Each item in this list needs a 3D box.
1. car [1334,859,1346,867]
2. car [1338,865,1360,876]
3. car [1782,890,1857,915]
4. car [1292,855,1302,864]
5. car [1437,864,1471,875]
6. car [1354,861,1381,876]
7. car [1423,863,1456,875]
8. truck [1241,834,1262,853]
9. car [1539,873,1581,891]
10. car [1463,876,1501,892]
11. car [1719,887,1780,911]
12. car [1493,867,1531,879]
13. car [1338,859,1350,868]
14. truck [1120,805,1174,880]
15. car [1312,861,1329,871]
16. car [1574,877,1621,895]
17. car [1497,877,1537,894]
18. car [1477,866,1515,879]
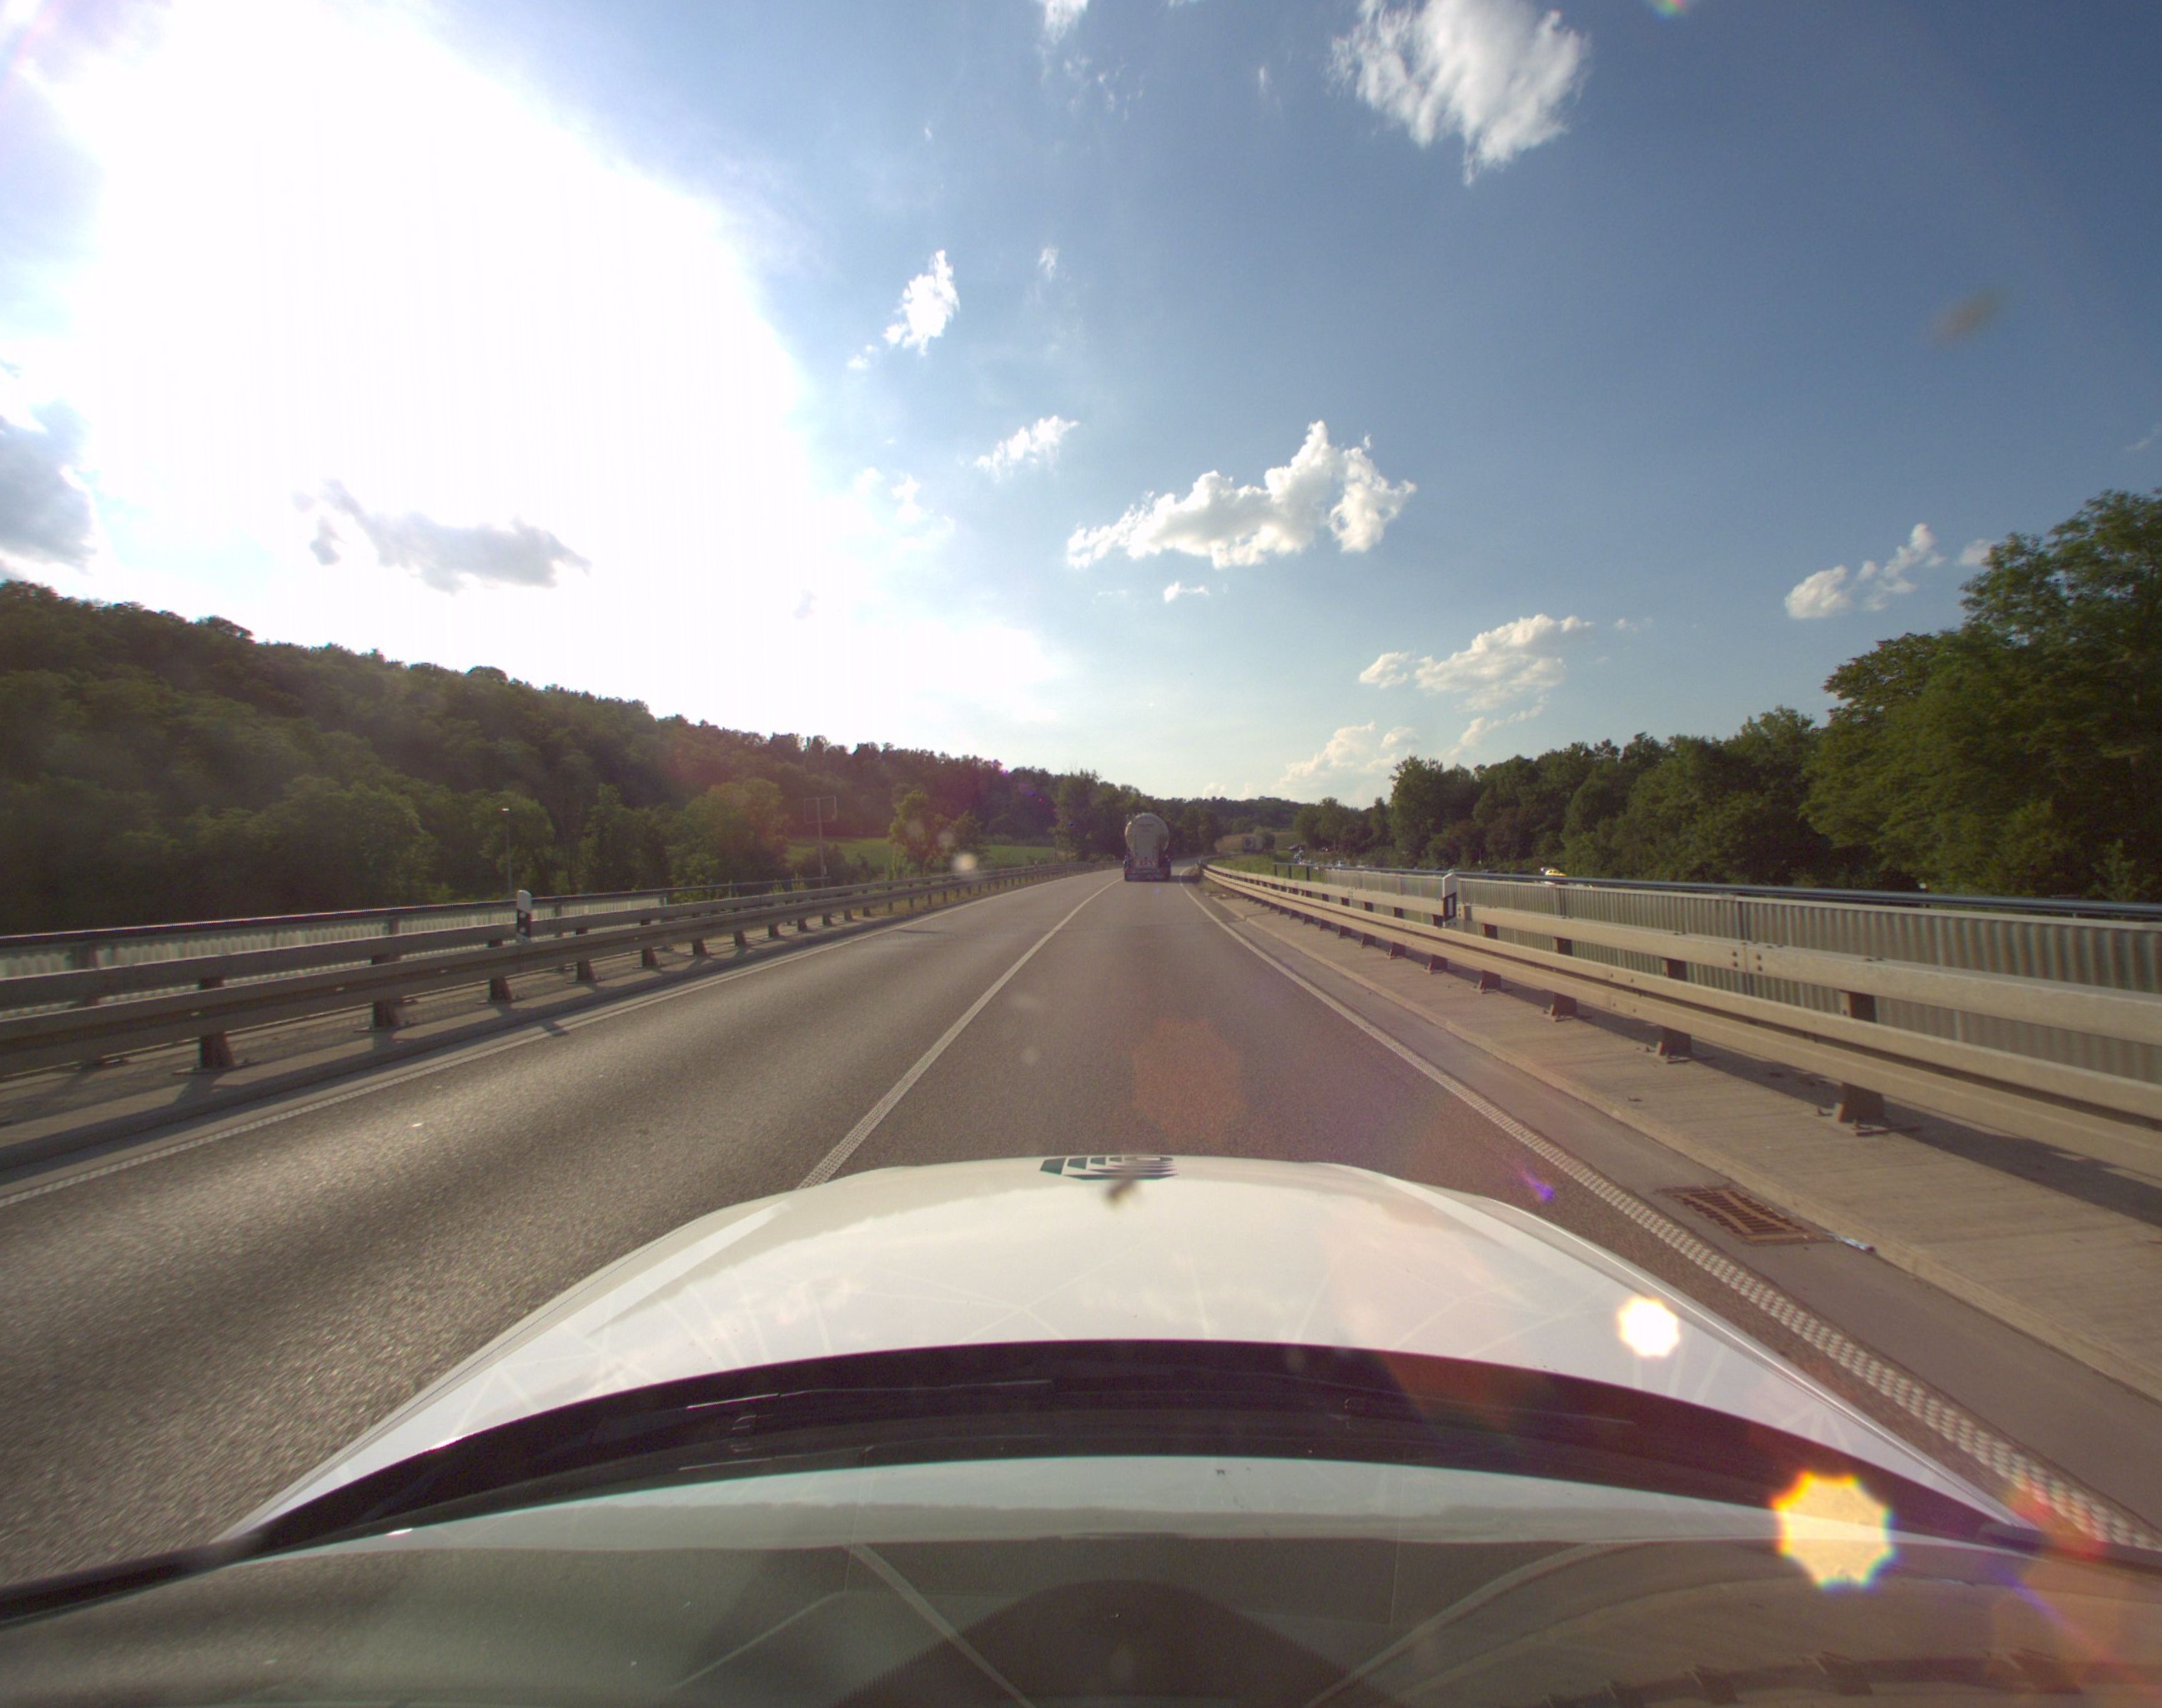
[{"bbox_3d":[52.927,1.786,166.456,1.690,1.398,3.958,-4,0,11],"label":"car"},{"bbox_3d":[43.892,2.695,133.654,1.886,1.482,4.781,-5,1,-1],"label":"car"},{"bbox_3d":[50.278,3.274,55.485,1.669,1.496,3.640,-2,-1,-42],"label":"car"},{"bbox_3d":[50.834,1.304,191.717,1.877,1.559,4.805,-5,1,17],"label":"car"},{"bbox_3d":[53.744,2.239,117.316,4.228,1.498,1.768,-1,1,-7],"label":"car"},{"bbox_3d":[44.051,2.183,125.256,2.113,2.017,5.378,-5,1,-1],"label":"car"},{"bbox_3d":[54.216,2.273,123.201,4.228,1.742,1.830,-1,1,-7],"label":"car"},{"bbox_3d":[41.057,-2.521,195.940,3.158,4.227,13.236,-2,1,18],"label":"truck"},{"bbox_3d":[49.831,2.894,84.848,1.649,1.666,4.708,-2,0,0],"label":"car"},{"bbox_3d":[44.359,3.335,90.087,1.815,1.401,4.250,-4,1,-5],"label":"car"},{"bbox_3d":[49.522,3.304,60.432,1.646,1.496,3.836,-2,0,6],"label":"car"},{"bbox_3d":[56.067,2.455,106.037,4.230,1.456,1.613,-2,1,-8],"label":"car"},{"bbox_3d":[52.278,1.906,162.033,1.691,1.510,3.956,-2,0,9],"label":"car"},{"bbox_3d":[4.420,-0.623,51.749,2.877,4.143,13.196,-1,0,7],"label":"truck"},{"bbox_3d":[46.143,2.254,157.151,1.884,1.559,4.786,-5,1,2],"label":"car"},{"bbox_3d":[49.809,3.058,78.660,1.651,1.496,4.218,-2,0,-3],"label":"car"},{"bbox_3d":[44.635,3.196,83.516,1.651,1.496,4.218,-2,0,-3],"label":"car"},{"bbox_3d":[55.569,2.474,109.015,4.403,1.456,1.728,-2,1,-11],"label":"car"}]
